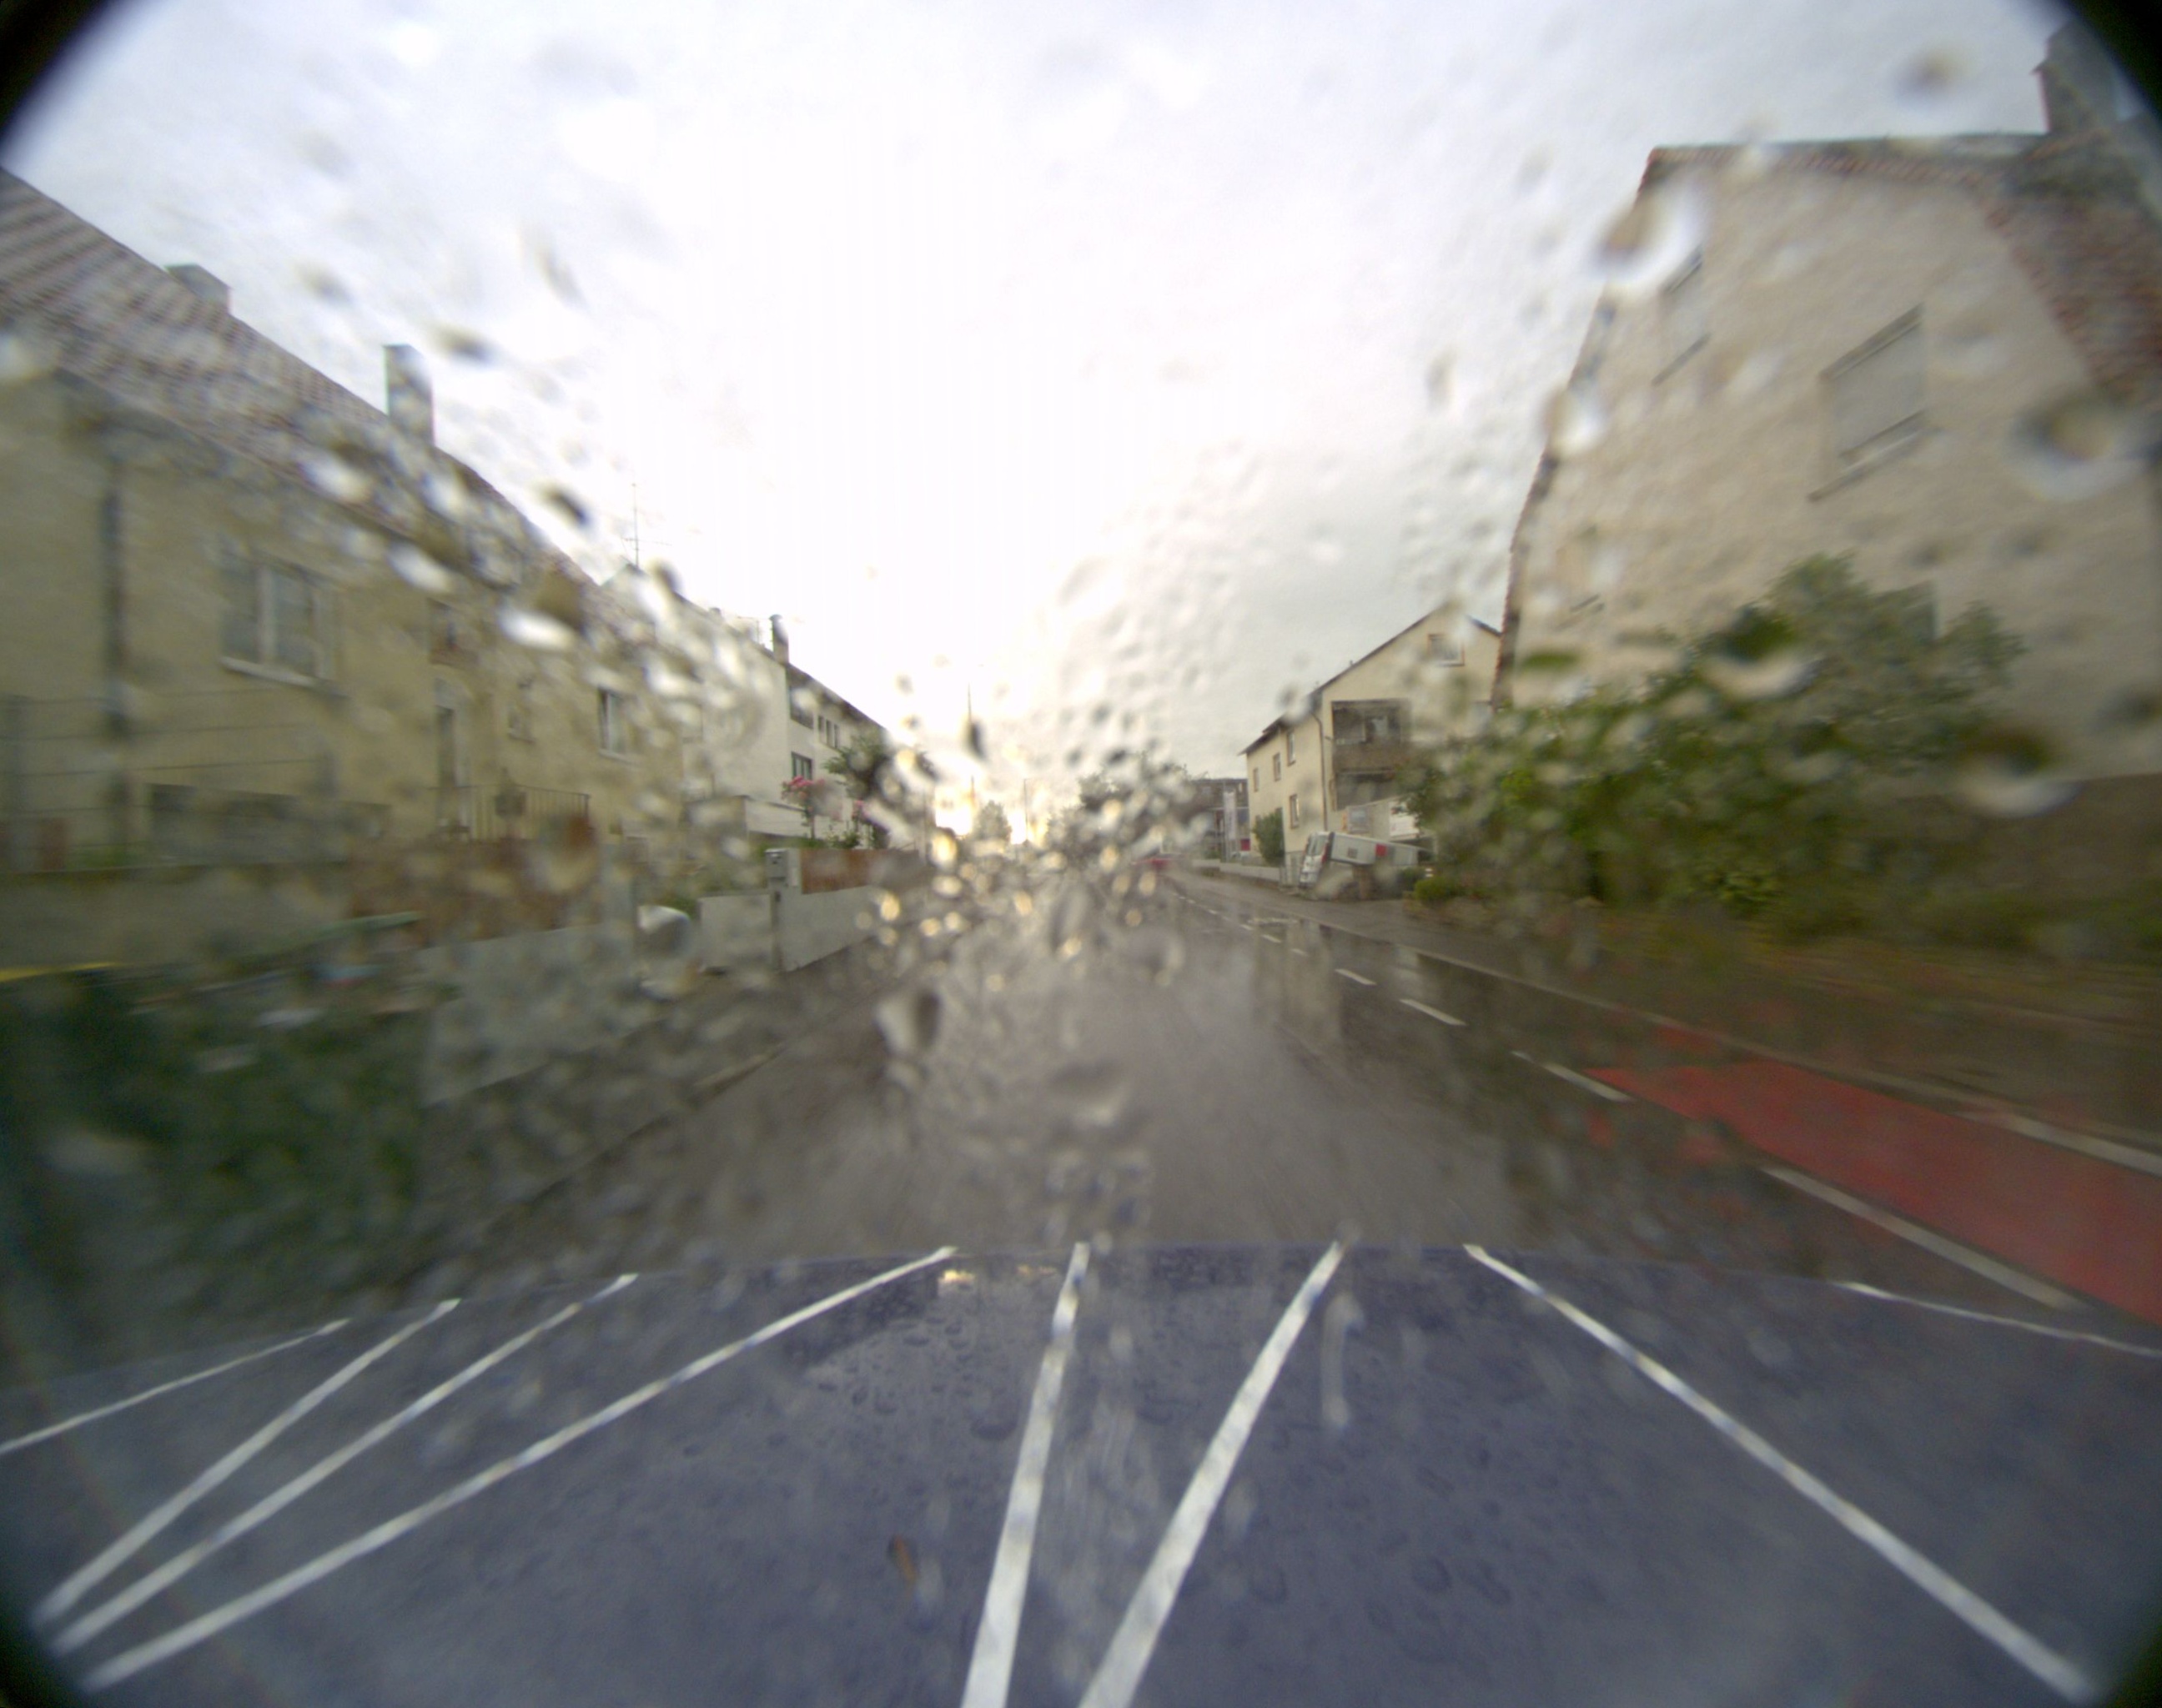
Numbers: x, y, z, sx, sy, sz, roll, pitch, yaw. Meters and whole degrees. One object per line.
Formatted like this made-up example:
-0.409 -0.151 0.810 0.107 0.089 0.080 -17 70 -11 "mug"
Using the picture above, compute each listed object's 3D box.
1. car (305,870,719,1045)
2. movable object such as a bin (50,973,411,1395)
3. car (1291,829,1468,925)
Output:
-5.693 0.992 7.838 3.077 1.514 1.633 -3 -1 6 "car"
-2.801 1.039 2.563 0.569 1.179 0.537 -1 1 -1 "movable object such as a bin"
8.381 0.635 21.577 3.998 1.964 1.873 10 0 -2 "car"
